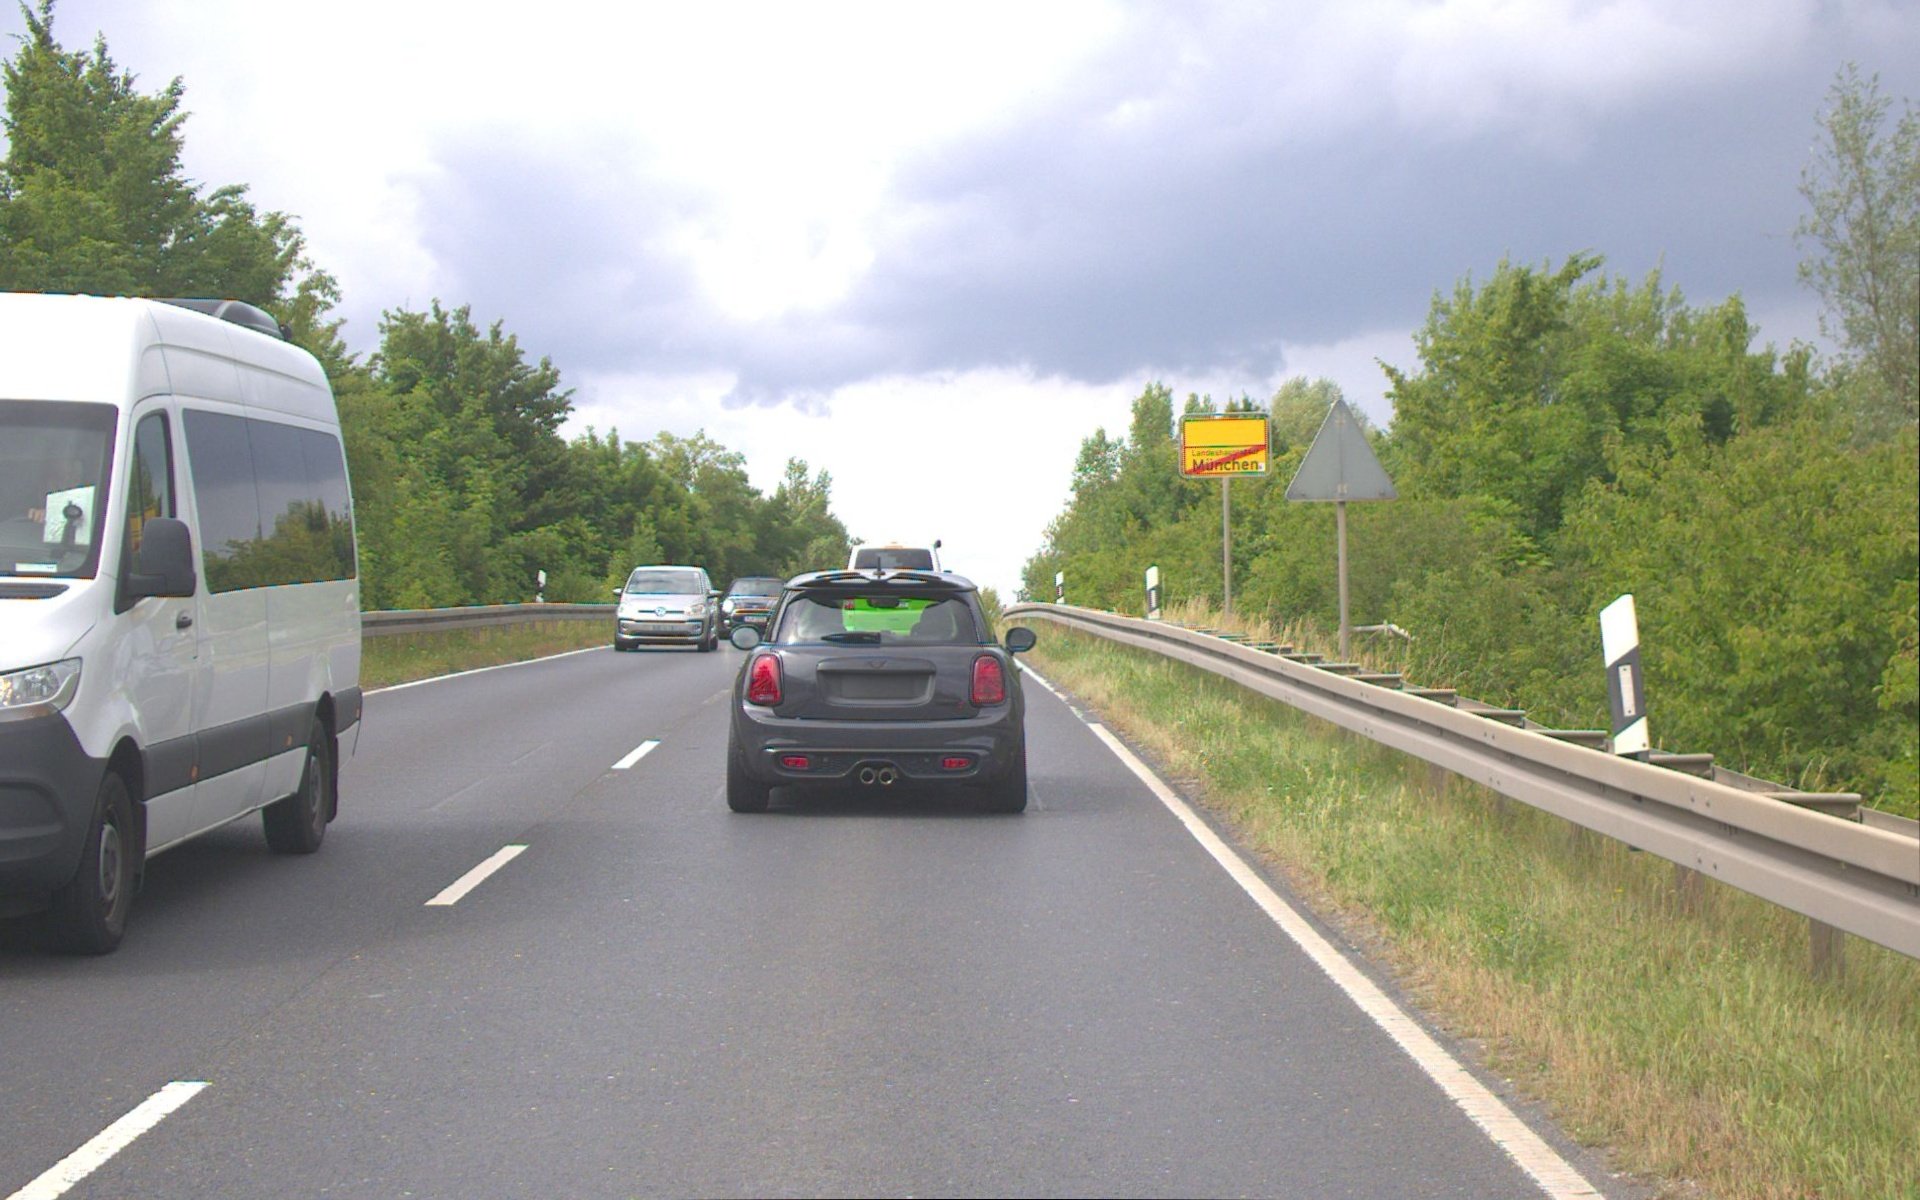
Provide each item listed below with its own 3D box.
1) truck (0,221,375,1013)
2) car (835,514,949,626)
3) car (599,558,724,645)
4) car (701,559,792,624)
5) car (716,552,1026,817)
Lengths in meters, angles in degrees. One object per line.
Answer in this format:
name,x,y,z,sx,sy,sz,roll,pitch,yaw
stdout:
truck,-4.187,-0.007,15.360,2.065,2.733,7.007,0,1,-1
car,-1.248,-0.565,63.337,2.022,2.006,4.000,0,1,-1
car,-5.157,0.011,59.830,1.835,1.440,4.000,1,0,0
car,-4.857,-0.202,78.658,1.835,1.415,4.000,1,0,0
car,-0.502,0.448,21.330,1.732,1.451,4.000,0,1,0
